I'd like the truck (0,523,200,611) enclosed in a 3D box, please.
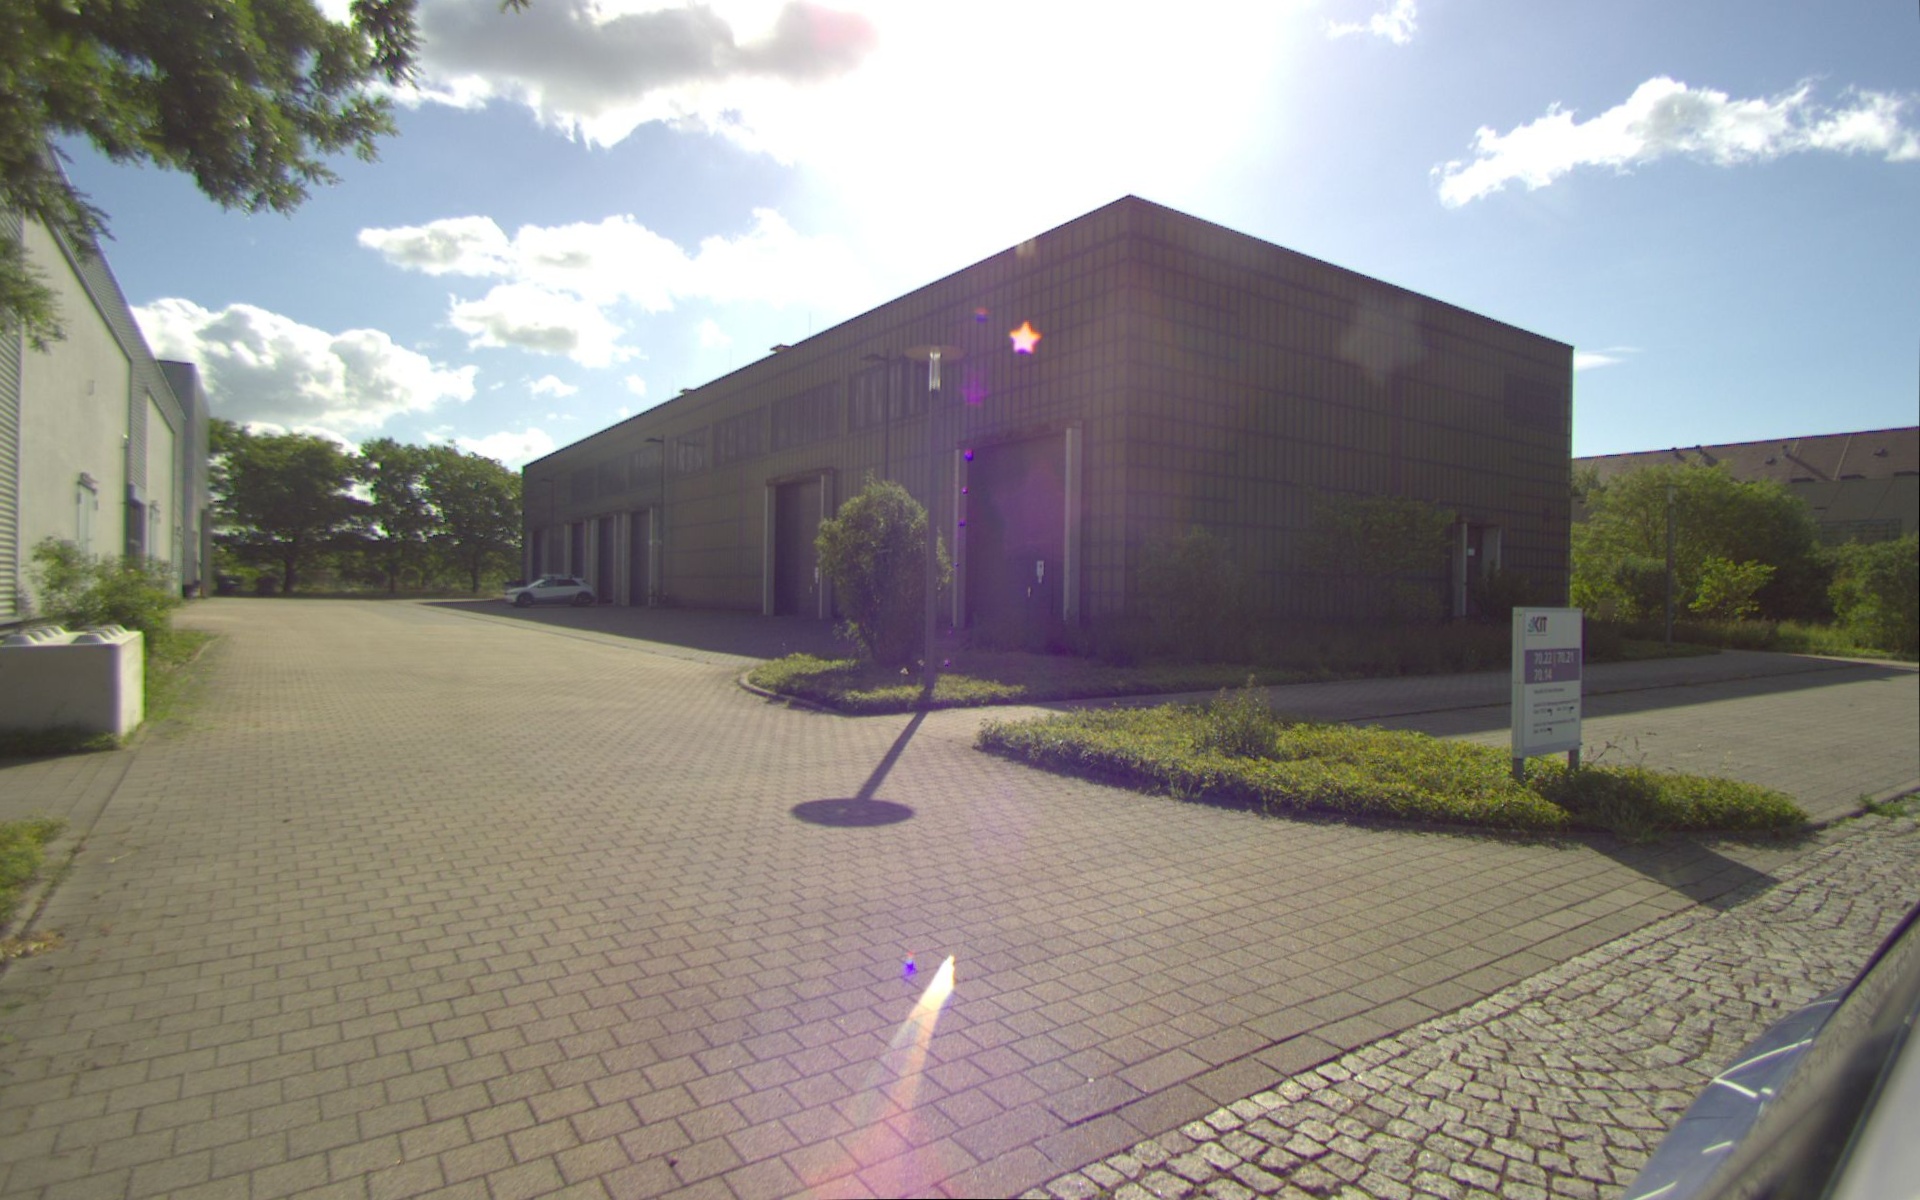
[{"bbox_3d":[-40.737,-1.490,47.494,7.948,3.866,2.651,0,0,-35],"label":"truck"}]

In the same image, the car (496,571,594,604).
[{"bbox_3d":[-21.914,-0.650,53.514,4.493,1.684,2.000,0,1,-36],"label":"car"}]
